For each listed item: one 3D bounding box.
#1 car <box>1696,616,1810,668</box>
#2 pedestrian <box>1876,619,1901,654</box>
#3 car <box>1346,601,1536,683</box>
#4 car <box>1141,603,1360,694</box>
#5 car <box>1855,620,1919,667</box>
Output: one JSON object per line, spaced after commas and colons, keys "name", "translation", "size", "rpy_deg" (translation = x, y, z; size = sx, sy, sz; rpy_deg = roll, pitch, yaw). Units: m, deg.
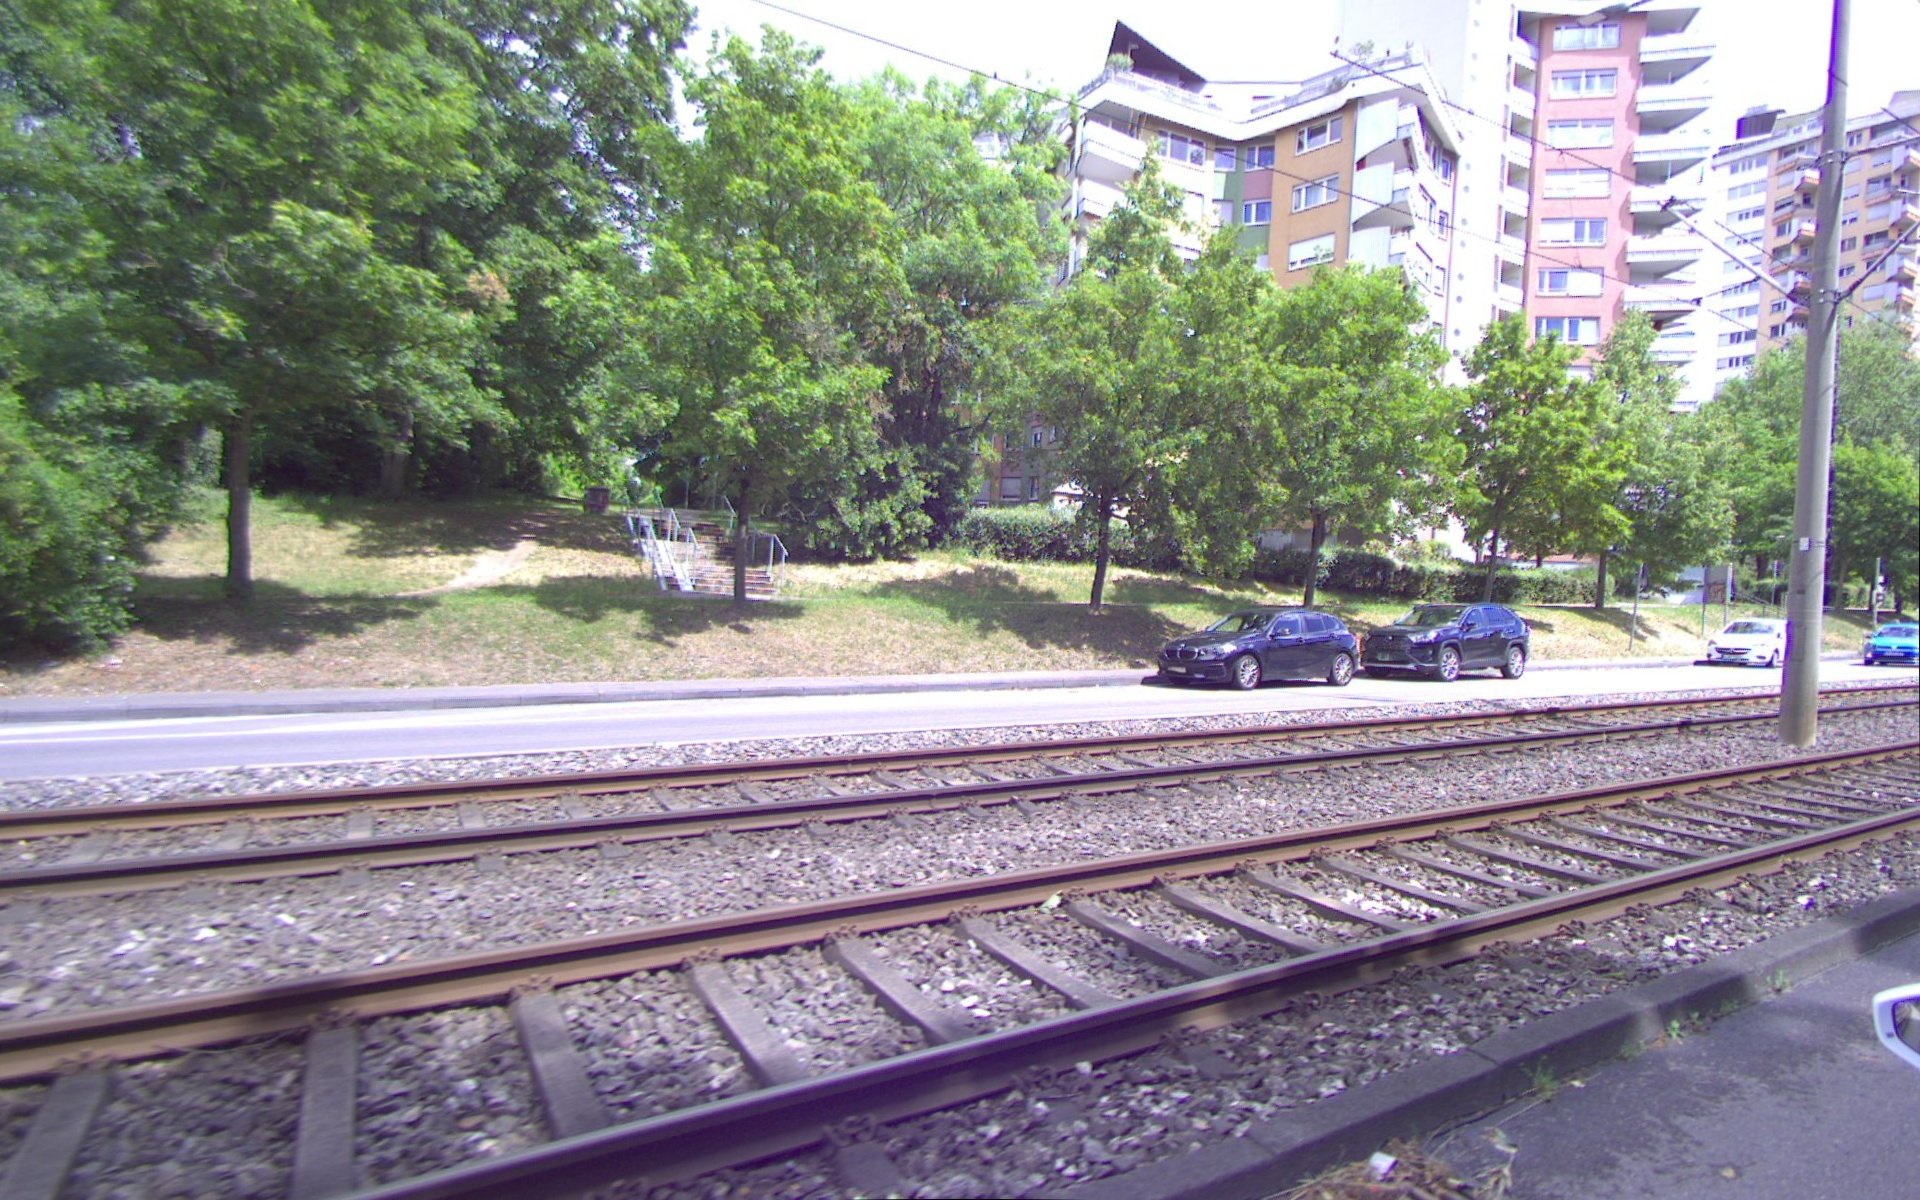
{"name": "car", "translation": [25.096, 1.296, 31.760], "size": [4.203, 1.552, 1.769], "rpy_deg": [1, -1, -36]}
{"name": "pedestrian", "translation": [41.967, 1.630, 45.401], "size": [0.759, 1.555, 0.714], "rpy_deg": [1, 0, 41]}
{"name": "car", "translation": [10.624, 0.914, 22.088], "size": [4.335, 1.651, 1.764], "rpy_deg": [2, -1, -33]}
{"name": "car", "translation": [5.481, 0.856, 18.833], "size": [3.954, 1.518, 1.764], "rpy_deg": [1, 0, -33]}
{"name": "car", "translation": [31.989, 1.457, 34.211], "size": [3.910, 1.461, 1.701], "rpy_deg": [1, 0, -40]}
